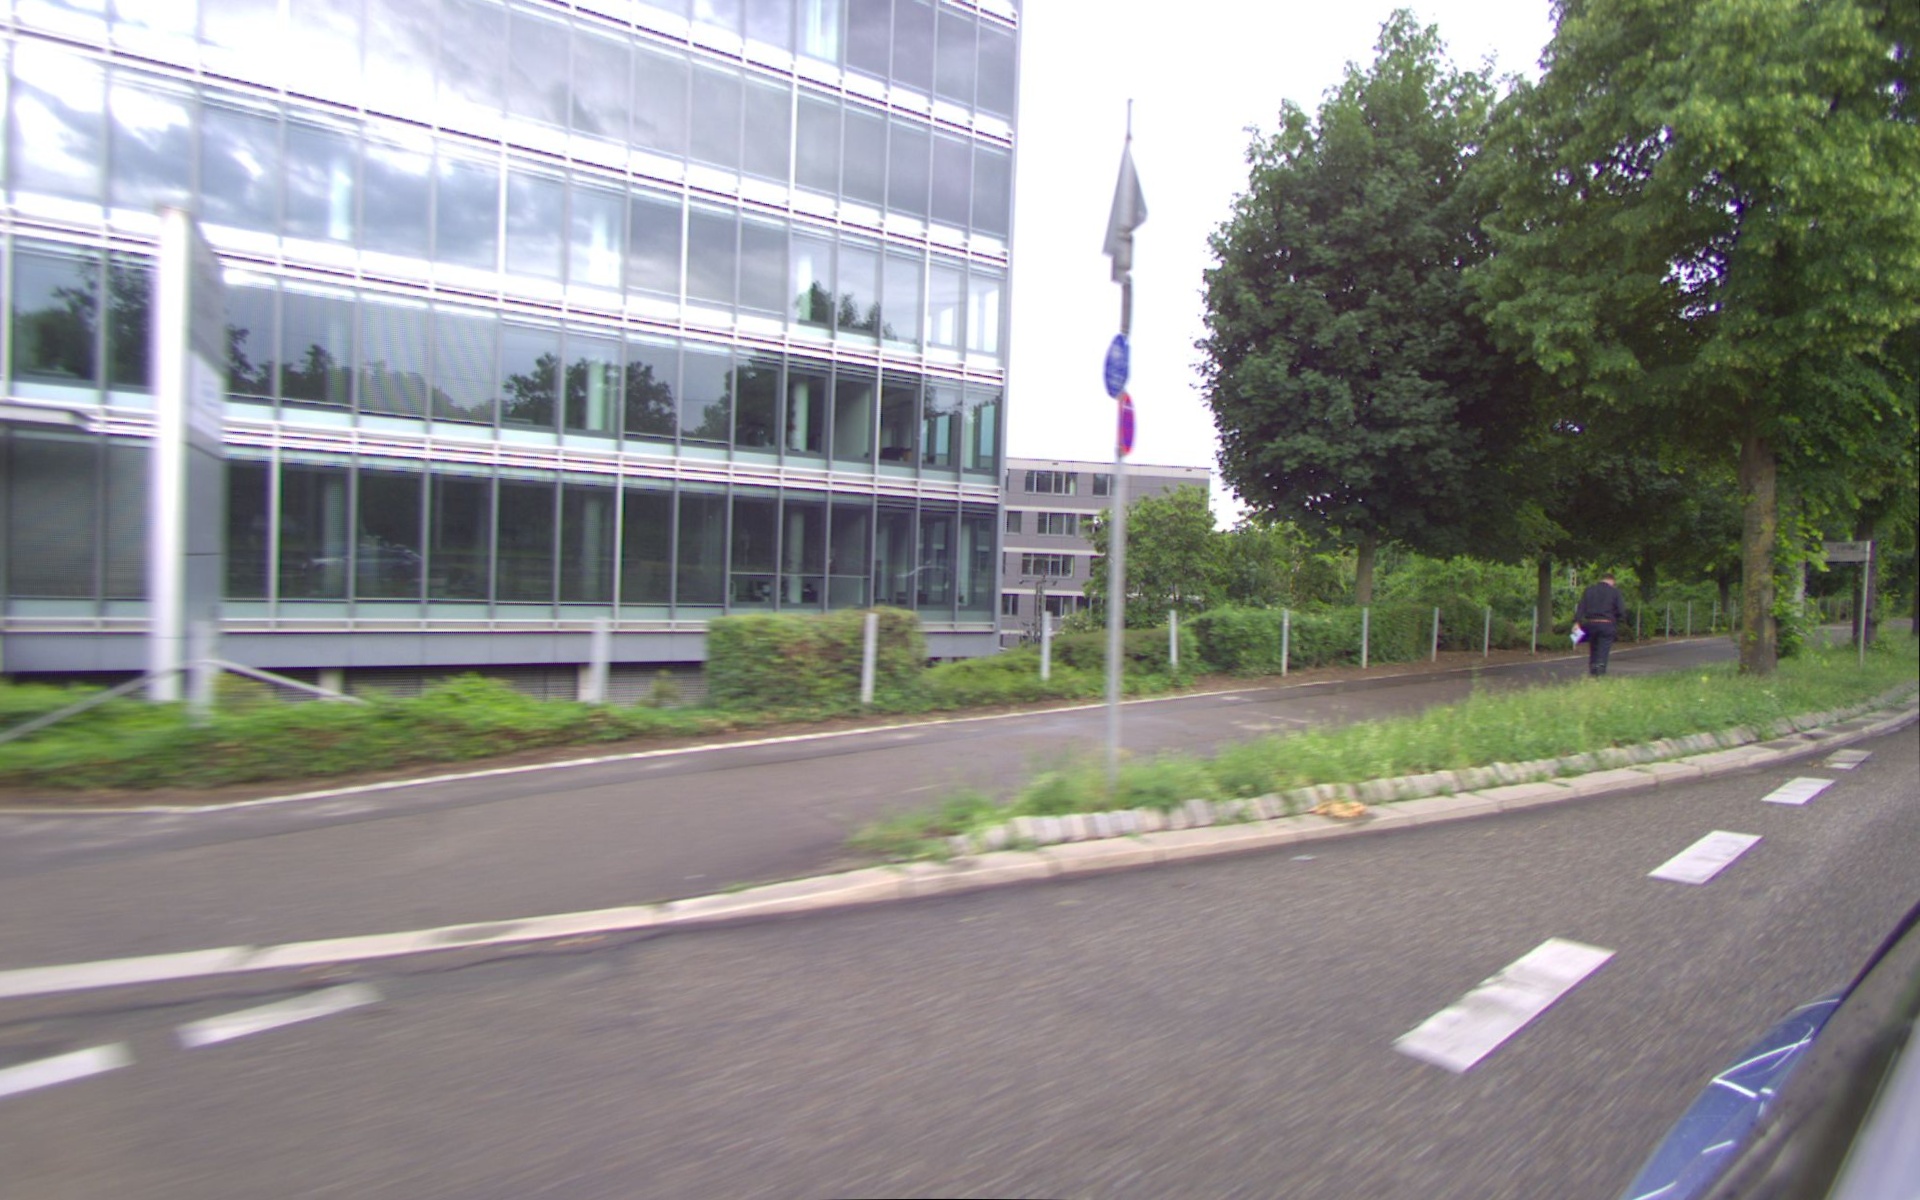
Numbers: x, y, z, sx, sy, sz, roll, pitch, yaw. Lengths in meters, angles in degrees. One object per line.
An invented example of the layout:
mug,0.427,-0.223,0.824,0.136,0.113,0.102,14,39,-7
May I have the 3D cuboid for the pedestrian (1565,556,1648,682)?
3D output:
pedestrian,9.711,0.260,15.199,0.852,1.819,0.827,0,1,-40
